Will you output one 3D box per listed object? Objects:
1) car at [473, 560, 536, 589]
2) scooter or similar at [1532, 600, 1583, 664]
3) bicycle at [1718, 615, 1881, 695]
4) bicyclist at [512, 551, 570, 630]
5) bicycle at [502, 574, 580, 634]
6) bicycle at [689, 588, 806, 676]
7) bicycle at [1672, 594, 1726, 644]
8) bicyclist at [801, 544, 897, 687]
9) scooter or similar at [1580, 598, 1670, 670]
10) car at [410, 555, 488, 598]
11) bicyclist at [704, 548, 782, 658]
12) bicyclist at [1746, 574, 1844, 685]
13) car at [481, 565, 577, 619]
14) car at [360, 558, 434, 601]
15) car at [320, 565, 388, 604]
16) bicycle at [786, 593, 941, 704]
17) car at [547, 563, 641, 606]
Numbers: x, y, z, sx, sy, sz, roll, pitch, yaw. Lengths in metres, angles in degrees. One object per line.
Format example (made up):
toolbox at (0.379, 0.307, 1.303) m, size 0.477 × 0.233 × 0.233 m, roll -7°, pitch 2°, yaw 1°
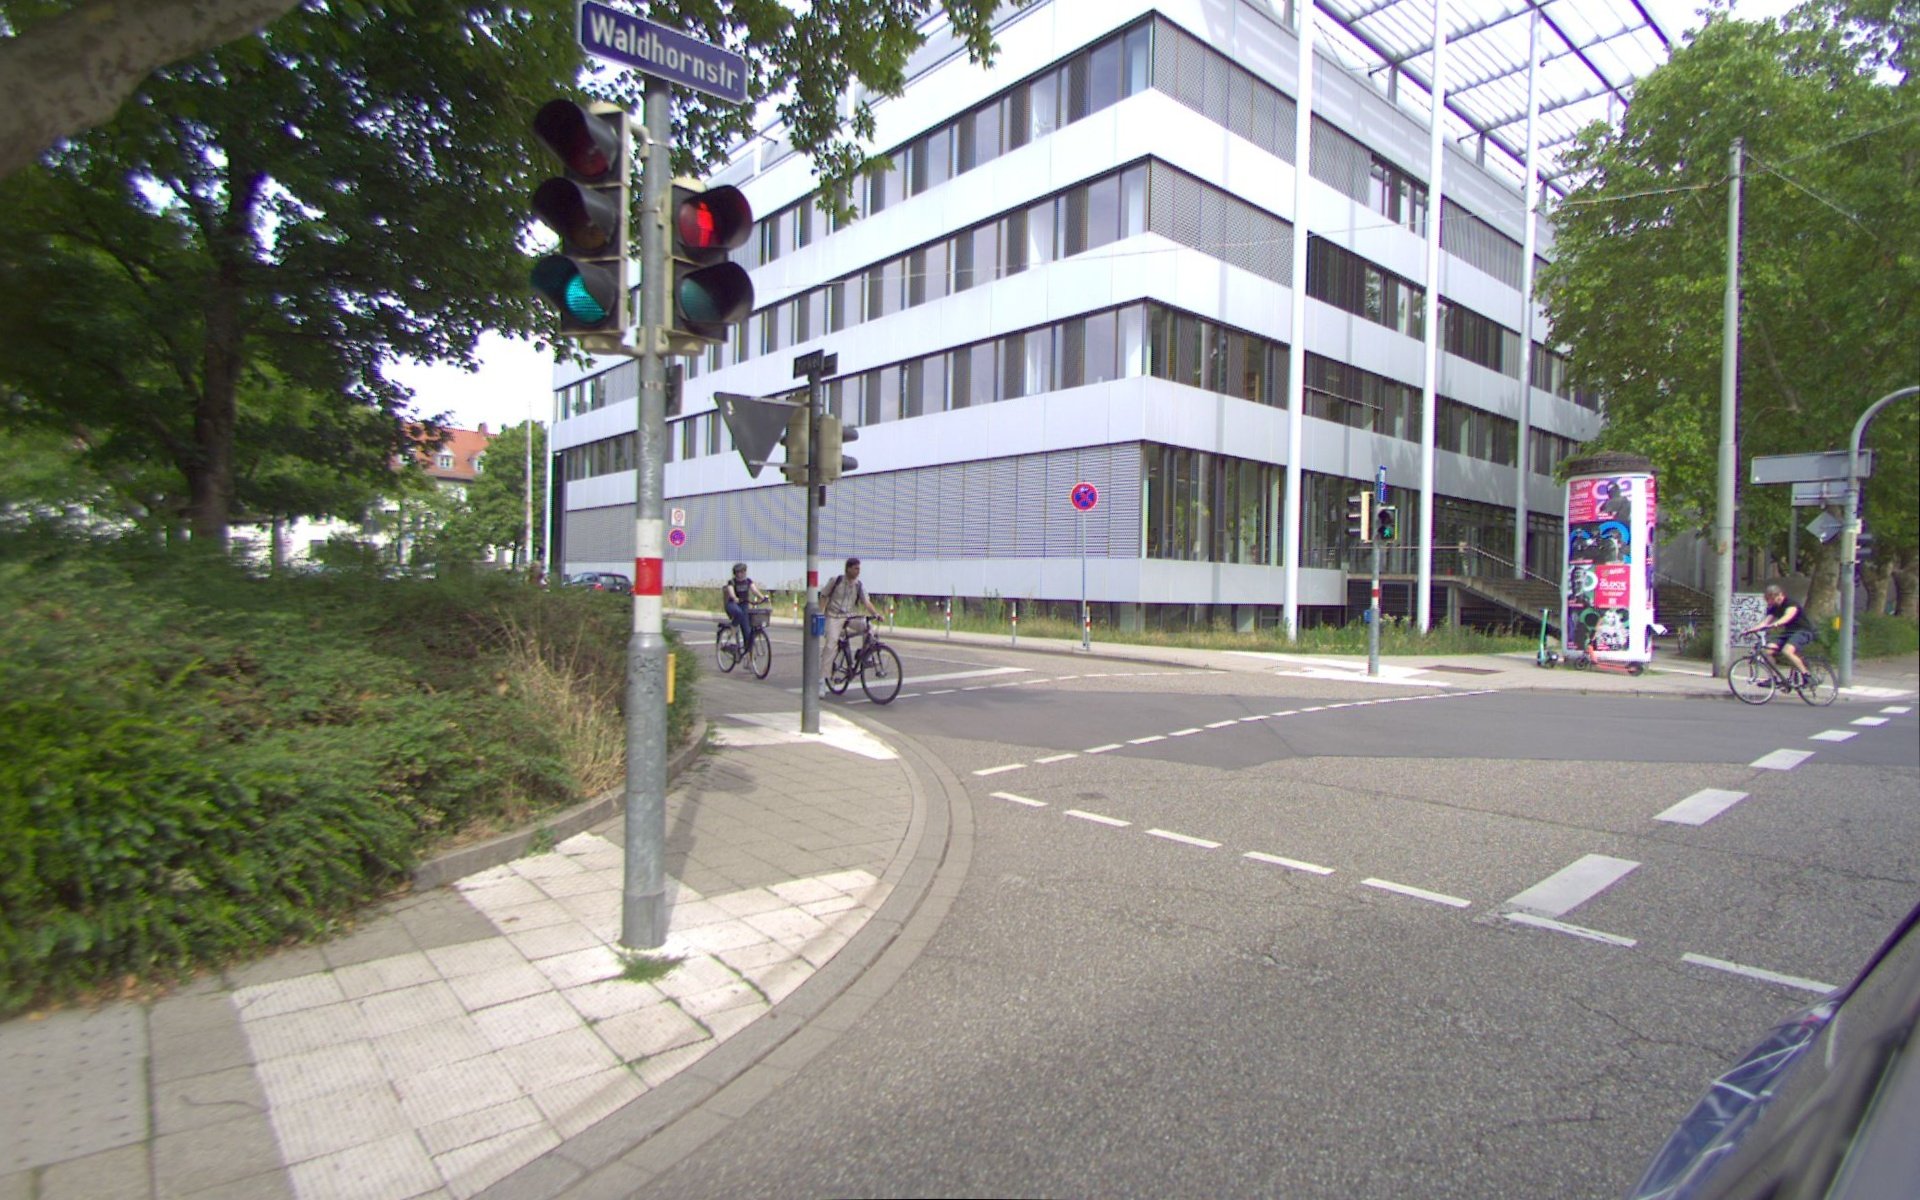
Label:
car at (-34.453, -1.882, 76.560) m, size 3.929 × 2.039 × 1.997 m, roll 1°, pitch -1°, yaw -40°
scooter or similar at (11.607, 0.602, 19.695) m, size 0.466 × 1.151 × 1.304 m, roll 3°, pitch 2°, yaw 15°
bicycle at (12.510, 0.799, 15.093) m, size 1.962 × 1.145 × 0.774 m, roll 0°, pitch -2°, yaw -11°
bicyclist at (-8.667, -0.210, 20.942) m, size 0.899 × 1.596 × 0.831 m, roll -1°, pitch 1°, yaw -40°
bicycle at (-8.710, 0.048, 20.979) m, size 0.899 × 1.187 × 2.250 m, roll -1°, pitch 2°, yaw -39°
bicycle at (-3.228, 0.430, 15.198) m, size 0.898 × 1.187 × 2.252 m, roll -1°, pitch 2°, yaw -35°
bicycle at (18.296, 0.467, 25.051) m, size 1.695 × 1.184 × 0.699 m, roll 1°, pitch -1°, yaw -41°
bicyclist at (-1.378, 0.167, 12.566) m, size 0.898 × 1.699 × 0.832 m, roll -1°, pitch 1°, yaw -36°
scooter or similar at (12.429, 0.614, 18.949) m, size 0.338 × 1.224 × 1.311 m, roll 1°, pitch 3°, yaw -35°
car at (-23.850, -1.055, 47.210) m, size 3.862 × 1.885 × 1.925 m, roll 0°, pitch -1°, yaw 41°
bicyclist at (-3.272, 0.033, 15.258) m, size 0.898 × 1.596 × 0.832 m, roll -1°, pitch 1°, yaw -36°
bicyclist at (12.519, 0.439, 15.197) m, size 0.785 × 1.604 × 0.774 m, roll 0°, pitch -2°, yaw -11°
car at (-17.014, -0.291, 39.897) m, size 3.982 × 2.039 × 1.970 m, roll 0°, pitch -1°, yaw 41°
car at (-28.112, -0.962, 50.500) m, size 3.982 × 2.039 × 1.970 m, roll 0°, pitch -1°, yaw 41°
car at (-32.461, -0.787, 54.162) m, size 3.982 × 2.039 × 1.970 m, roll 0°, pitch -1°, yaw 41°
bicycle at (-1.231, 0.530, 12.365) m, size 0.898 × 1.187 × 2.252 m, roll -1°, pitch 2°, yaw -35°
car at (-13.190, -0.526, 36.418) m, size 3.636 × 1.462 × 1.651 m, roll 0°, pitch -1°, yaw 41°
